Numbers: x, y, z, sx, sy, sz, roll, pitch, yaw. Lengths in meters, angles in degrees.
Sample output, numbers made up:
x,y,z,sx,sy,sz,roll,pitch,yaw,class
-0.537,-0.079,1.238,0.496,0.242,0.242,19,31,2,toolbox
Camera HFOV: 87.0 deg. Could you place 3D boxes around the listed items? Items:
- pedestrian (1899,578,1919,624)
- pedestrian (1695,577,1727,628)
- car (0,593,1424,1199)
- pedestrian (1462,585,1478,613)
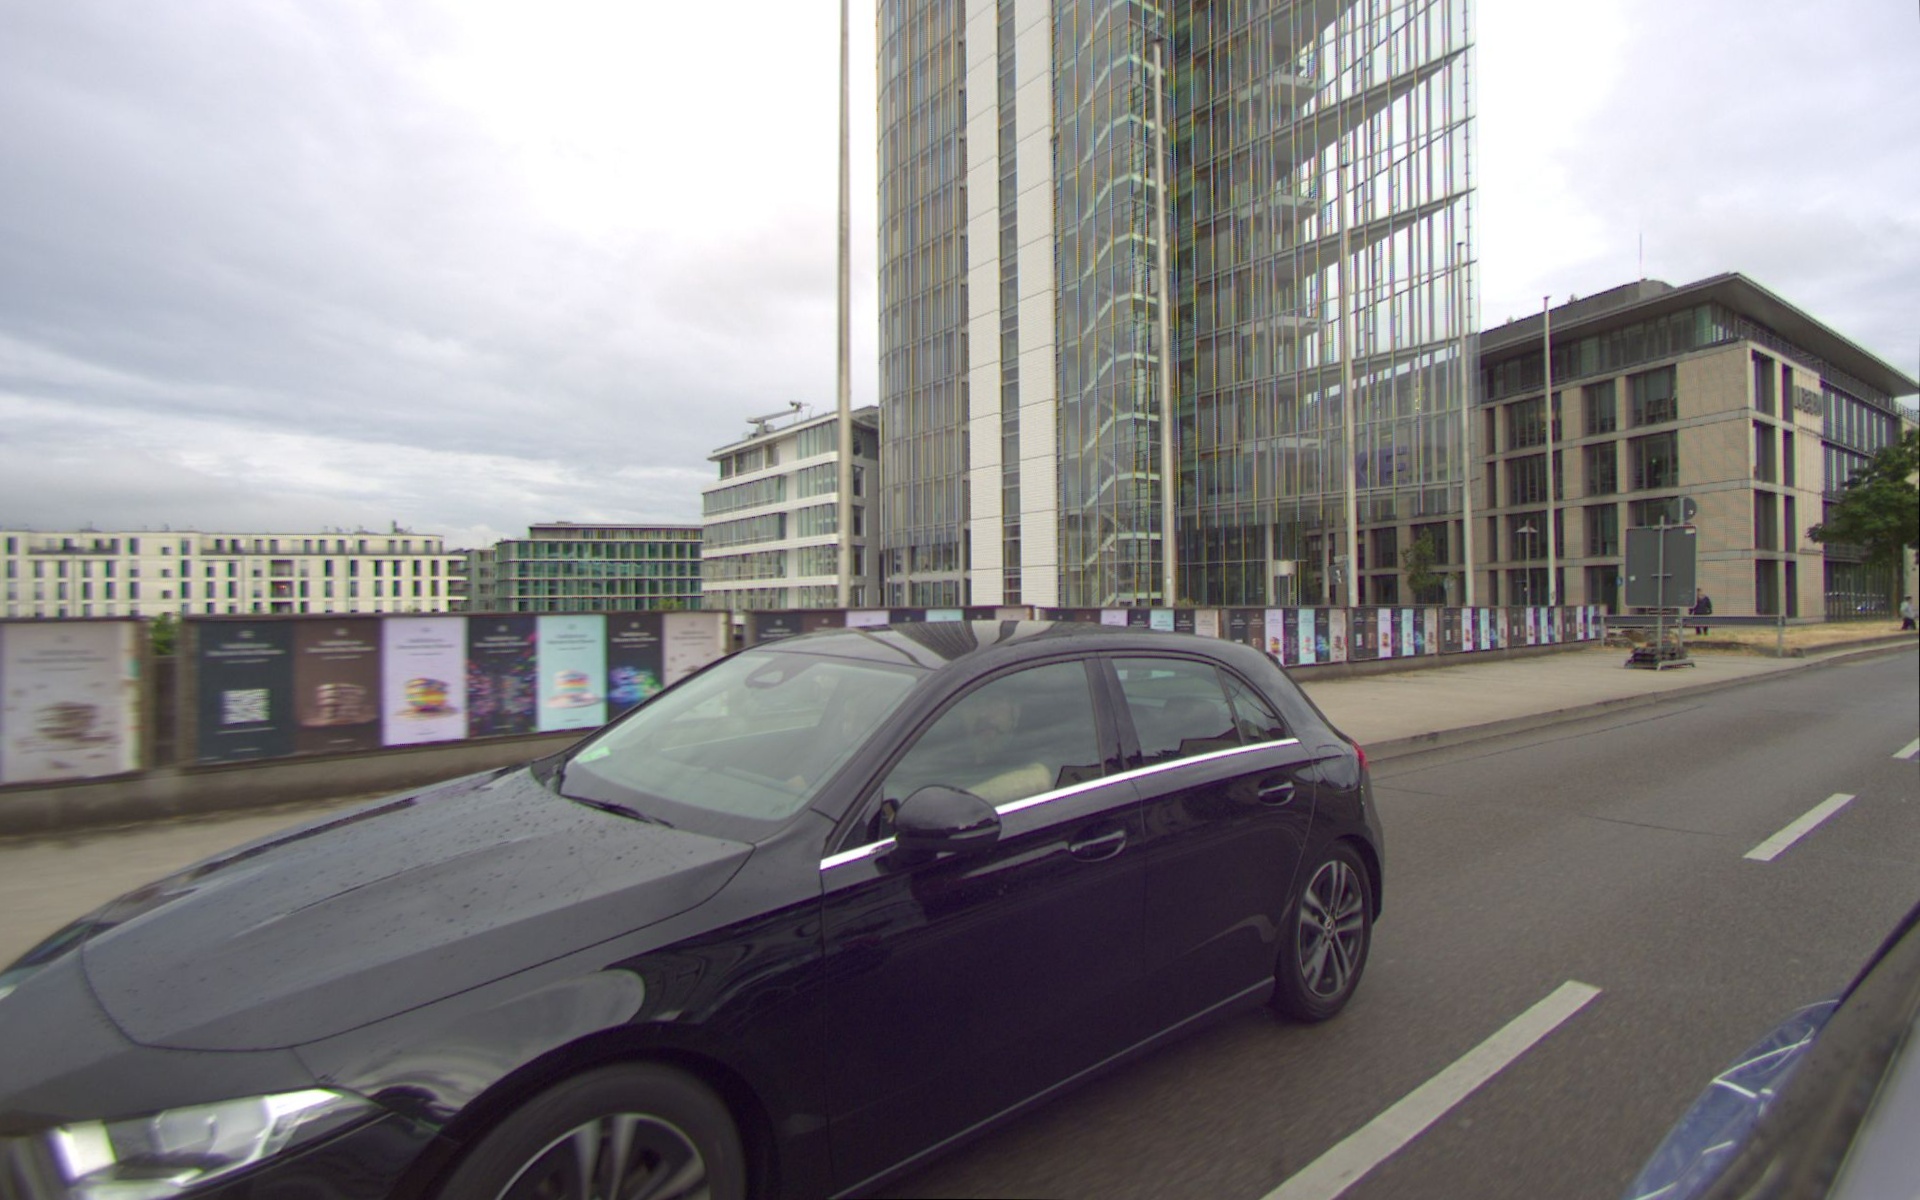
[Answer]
x,y,z,sx,sy,sz,roll,pitch,yaw,class
34.099,0.017,36.349,0.459,1.619,0.647,0,1,38,pedestrian
24.391,0.083,32.880,0.536,1.631,0.661,0,-1,-30,pedestrian
-0.270,0.717,3.199,4.085,1.393,1.725,-2,1,-43,car
32.922,-0.084,65.369,0.621,1.767,0.637,-1,1,-17,pedestrian
